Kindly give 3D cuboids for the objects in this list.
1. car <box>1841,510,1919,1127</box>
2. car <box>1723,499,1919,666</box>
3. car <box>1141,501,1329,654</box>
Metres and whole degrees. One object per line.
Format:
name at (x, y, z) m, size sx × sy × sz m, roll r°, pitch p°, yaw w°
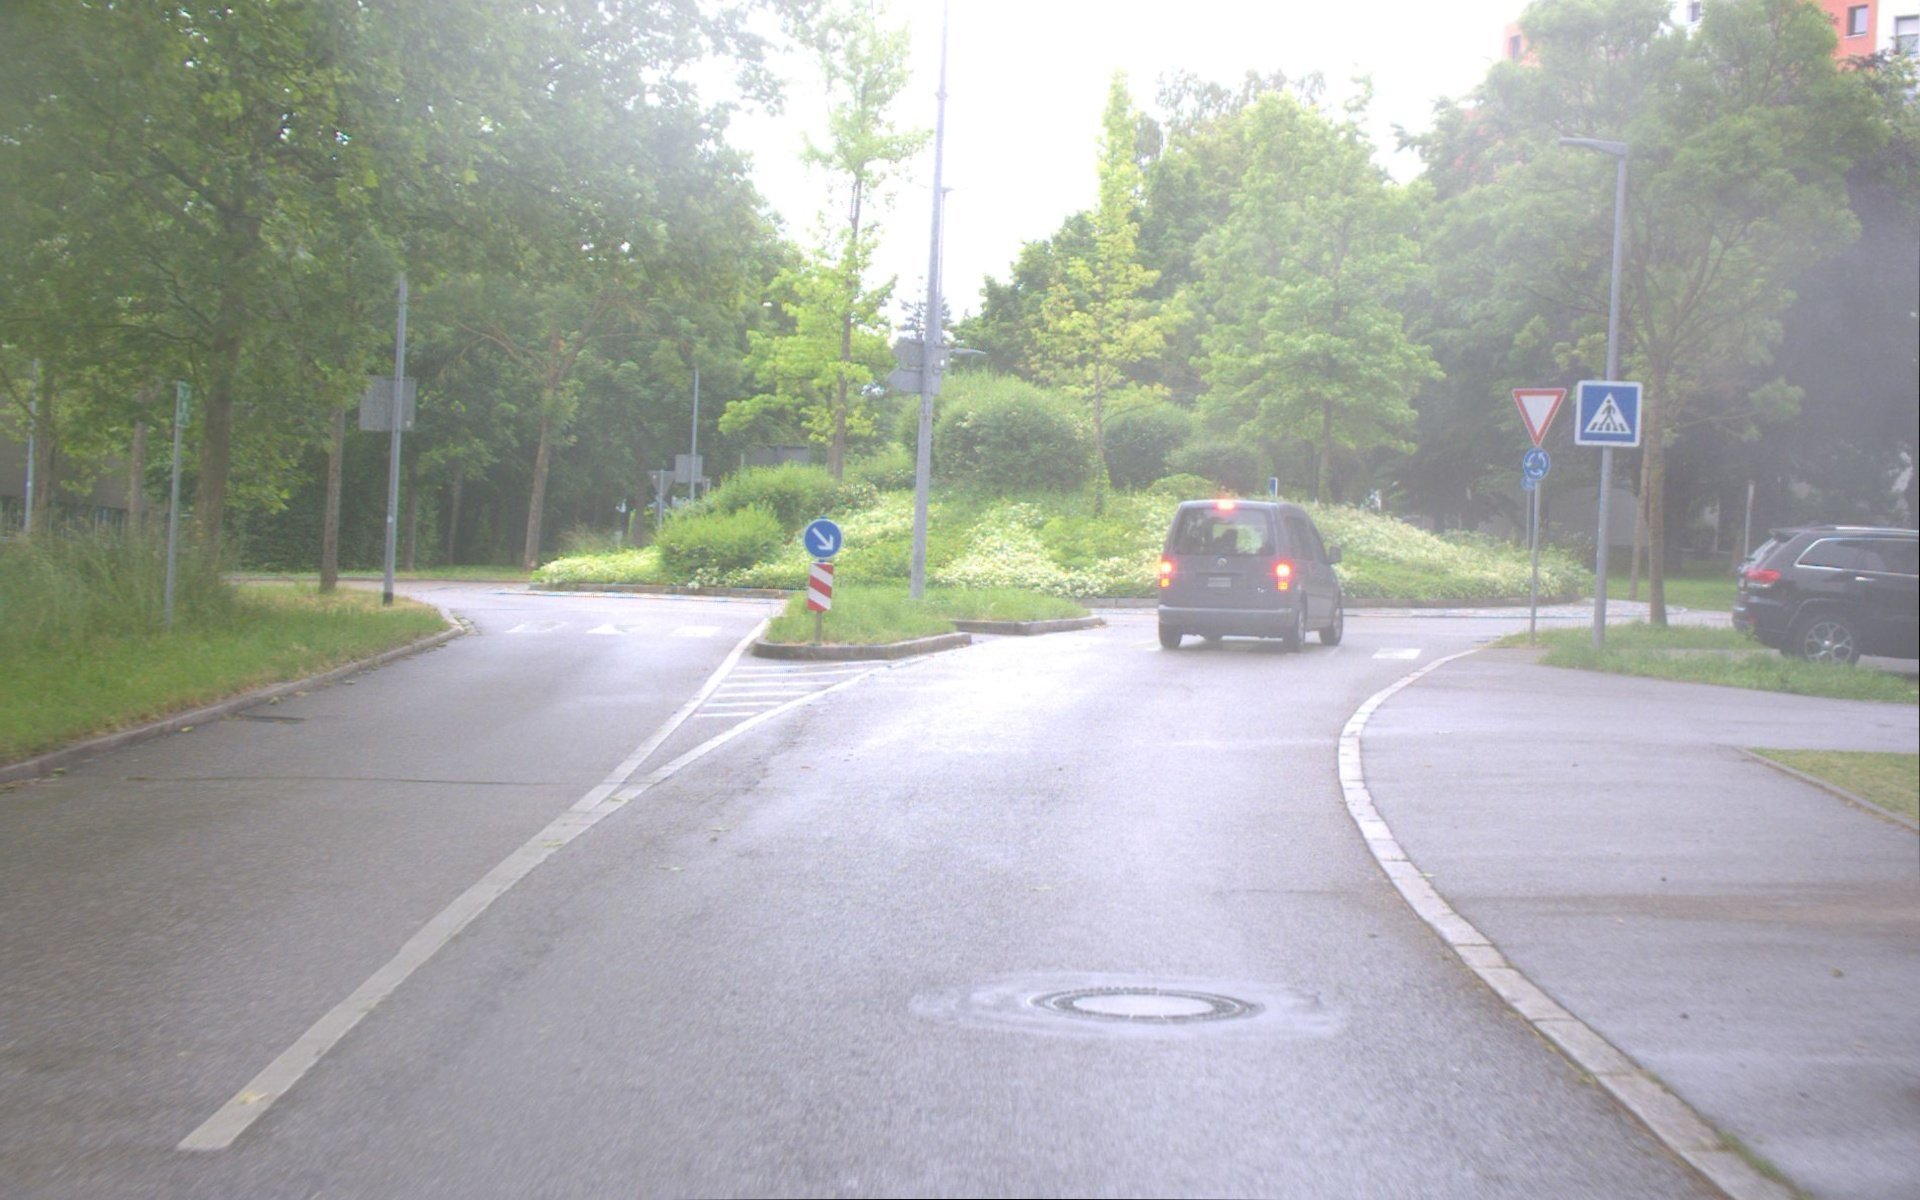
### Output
car at (3.394, 0.601, 7.497) m, size 1.801 × 1.596 × 4.371 m, roll 1°, pitch 1°, yaw 0°
car at (11.377, -0.145, 40.475) m, size 4.378 × 1.753 × 1.829 m, roll 4°, pitch 3°, yaw 6°
car at (3.462, -0.253, 42.743) m, size 1.919 × 1.795 × 3.788 m, roll -1°, pitch 0°, yaw 11°
